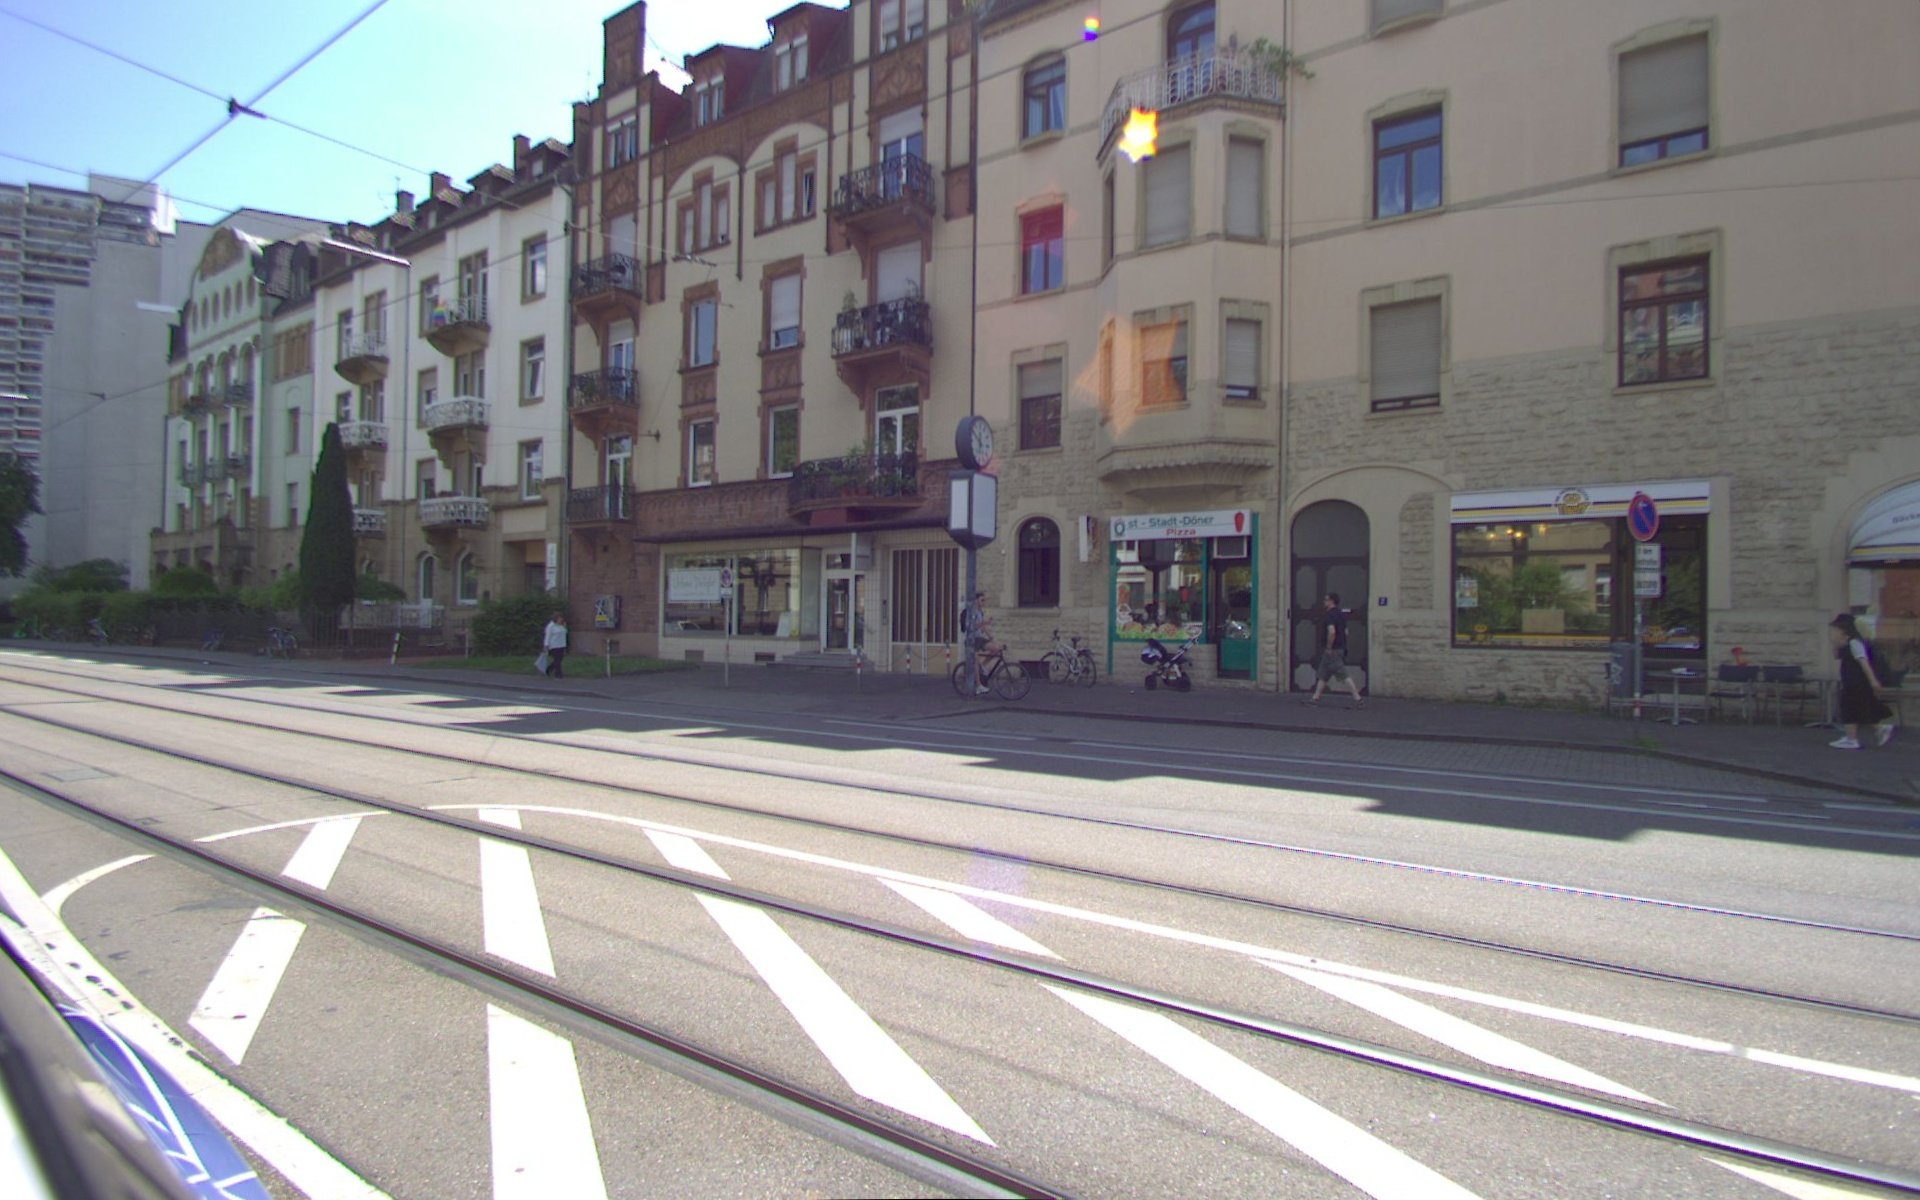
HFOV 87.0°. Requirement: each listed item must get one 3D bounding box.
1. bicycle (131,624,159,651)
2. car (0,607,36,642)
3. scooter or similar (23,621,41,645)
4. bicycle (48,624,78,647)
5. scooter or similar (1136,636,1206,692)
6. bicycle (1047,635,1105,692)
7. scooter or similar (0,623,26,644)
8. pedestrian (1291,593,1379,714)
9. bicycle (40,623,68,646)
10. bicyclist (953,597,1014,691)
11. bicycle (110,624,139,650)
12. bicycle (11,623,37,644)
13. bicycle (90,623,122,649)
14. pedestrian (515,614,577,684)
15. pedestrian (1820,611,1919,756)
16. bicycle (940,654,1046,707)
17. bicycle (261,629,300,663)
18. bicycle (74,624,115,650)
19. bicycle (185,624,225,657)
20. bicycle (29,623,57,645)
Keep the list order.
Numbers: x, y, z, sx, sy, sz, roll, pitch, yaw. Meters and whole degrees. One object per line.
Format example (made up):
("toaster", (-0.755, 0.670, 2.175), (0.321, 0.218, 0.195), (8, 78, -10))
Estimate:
("bicycle", (-31.535, 1.437, 39.150), (1.722, 0.973, 0.409), (-1, 1, 36))
("car", (-53.506, 1.334, 55.231), (1.934, 1.940, 4.587), (1, -2, -1))
("scooter or similar", (-44.594, 1.561, 48.622), (1.289, 1.128, 0.402), (-1, -2, 38))
("bicycle", (-40.200, 1.584, 45.355), (1.768, 0.983, 0.602), (-1, 1, 36))
("scooter or similar", (4.113, 1.241, 19.758), (1.192, 1.052, 0.697), (0, 0, -4))
("bicycle", (2.359, 1.277, 20.797), (0.365, 1.074, 1.469), (1, 0, -30))
("scooter or similar", (-47.385, 1.670, 50.643), (1.215, 1.028, 0.404), (0, -2, 21))
("pedestrian", (6.167, 0.842, 16.642), (1.162, 1.905, 0.893), (-1, 0, 35))
("bicycle", (-41.662, 1.588, 46.531), (1.704, 0.996, 0.602), (-1, 1, 36))
("bicyclist", (0.429, 0.790, 18.557), (0.830, 1.676, 0.748), (-1, -2, 39))
("bicycle", (-33.115, 1.453, 40.101), (1.704, 1.007, 0.460), (-1, 1, 36))
("bicycle", (-46.008, 1.648, 49.742), (1.704, 0.996, 0.602), (-1, 1, 36))
("bicycle", (-35.637, 1.508, 42.217), (1.768, 1.040, 0.602), (-1, 1, 36))
("pedestrian", (-9.581, 1.120, 23.426), (0.982, 1.554, 0.893), (-1, -2, 34))
("pedestrian", (11.066, 0.962, 12.153), (1.024, 1.648, 0.853), (0, 0, 34))
("bicycle", (0.597, 1.451, 18.466), (1.816, 0.824, 0.746), (0, 2, 35))
("bicycle", (-21.240, 1.434, 31.613), (1.838, 0.968, 0.407), (1, 2, 36))
("bicycle", (-34.357, 1.478, 40.204), (0.599, 1.007, 1.780), (1, -2, -18))
("bicycle", (-26.283, 1.407, 35.229), (1.768, 1.073, 0.602), (-1, 1, 36))
("bicycle", (-43.257, 1.593, 47.732), (1.704, 0.996, 0.602), (-1, 1, 36))
